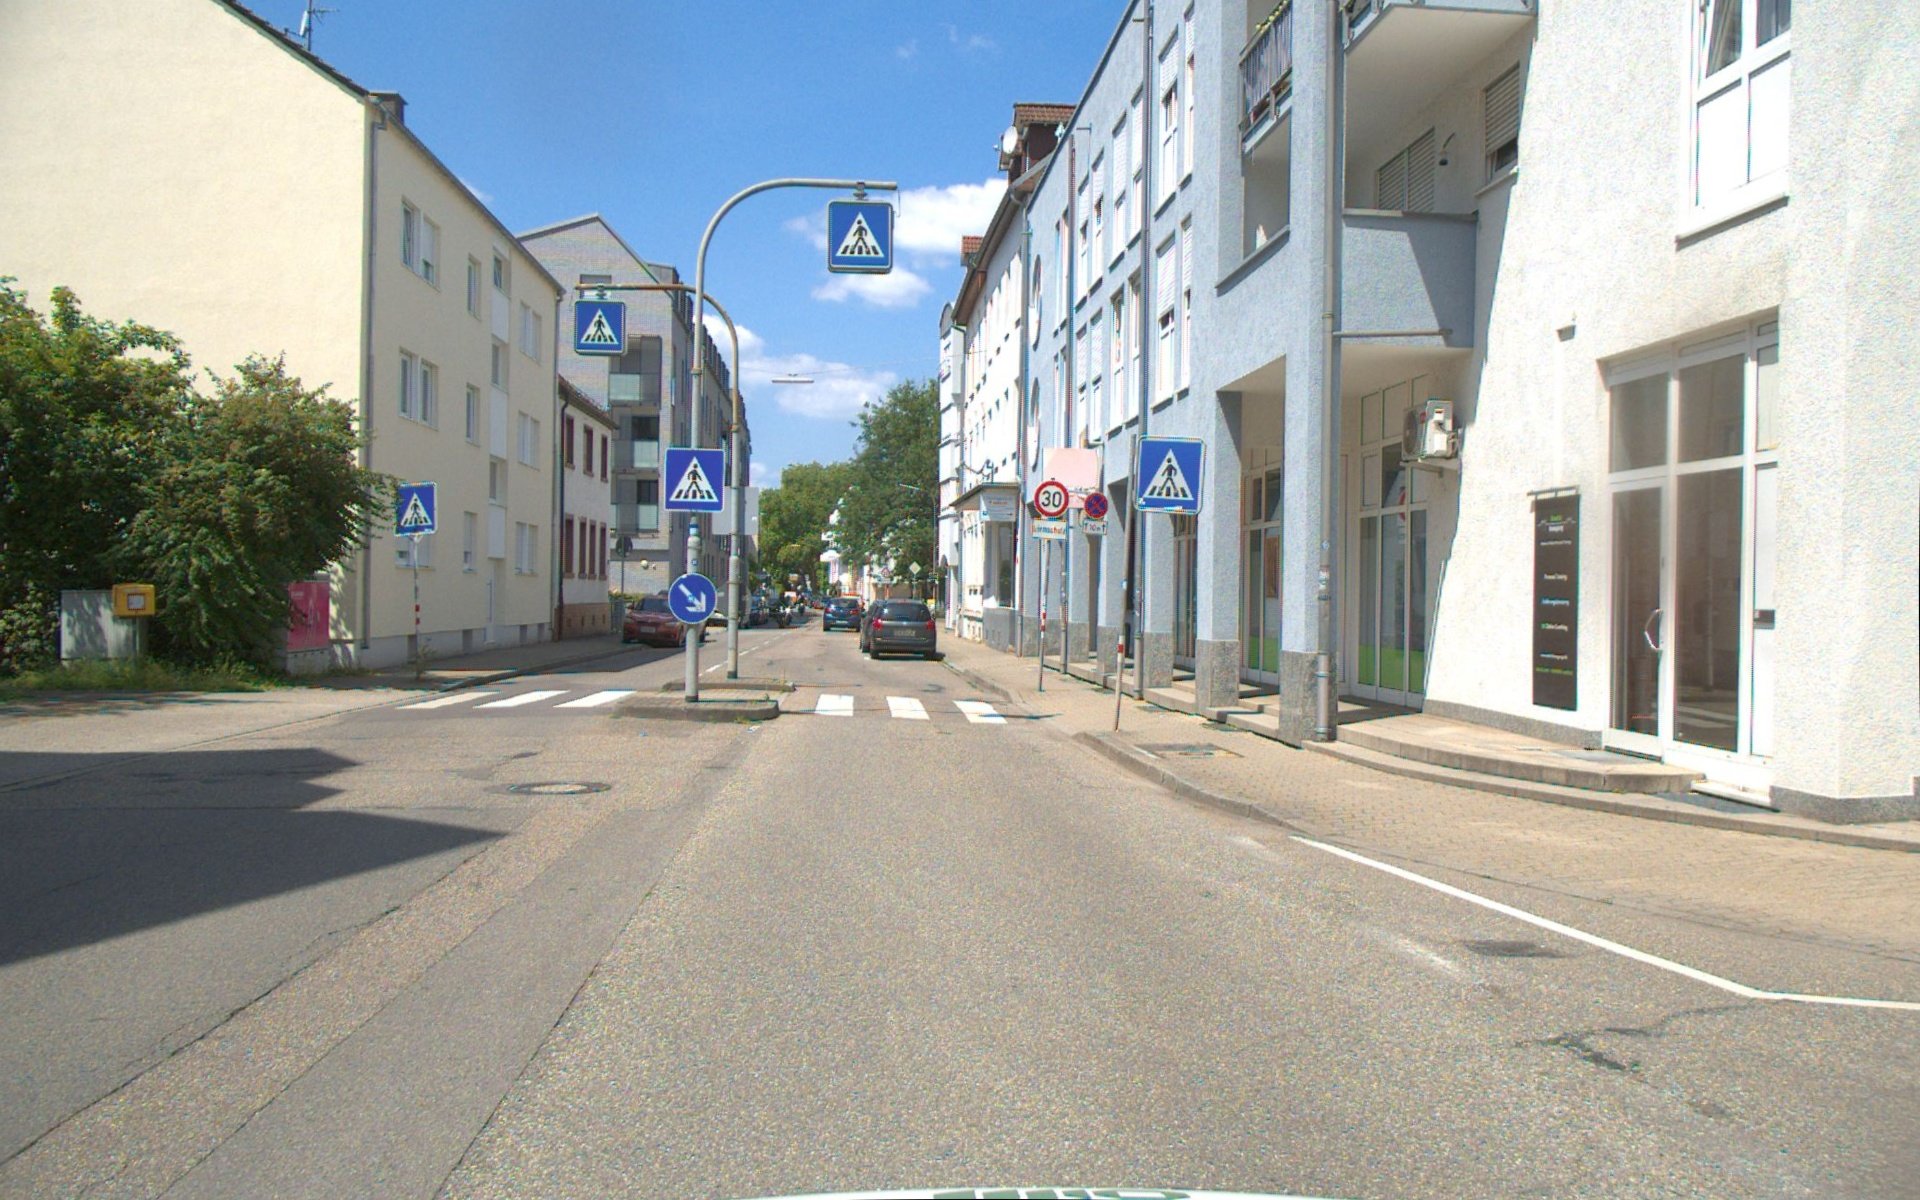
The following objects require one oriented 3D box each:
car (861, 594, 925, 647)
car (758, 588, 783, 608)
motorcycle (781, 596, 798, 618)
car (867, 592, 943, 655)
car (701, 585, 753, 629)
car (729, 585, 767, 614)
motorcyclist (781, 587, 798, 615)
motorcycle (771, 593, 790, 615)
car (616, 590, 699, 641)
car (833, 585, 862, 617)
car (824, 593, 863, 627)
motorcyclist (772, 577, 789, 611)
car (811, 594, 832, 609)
[{"bbox_3d":[-2.012,0.555,48.340,1.695,1.445,4.541,1,0,-4],"label":"car"},{"bbox_3d":[-14.283,-0.164,124.892,1.698,1.467,3.996,1,0,-5],"label":"car"},{"bbox_3d":[-9.425,0.390,91.468,0.878,1.196,2.206,1,0,-4],"label":"motorcycle"},{"bbox_3d":[-1.463,0.576,42.643,1.677,1.534,3.995,1,0,-6],"label":"car"},{"bbox_3d":[-10.792,0.299,76.909,1.721,1.925,4.336,3,0,0],"label":"car"},{"bbox_3d":[-11.584,-0.033,90.459,1.689,1.481,4.003,2,0,-3],"label":"car"},{"bbox_3d":[-9.417,0.035,91.431,0.898,1.506,1.202,1,0,-4],"label":"motorcyclist"},{"bbox_3d":[-8.776,0.184,80.794,0.698,1.046,2.239,0,1,-1],"label":"motorcycle"},{"bbox_3d":[-9.001,0.427,49.565,1.797,1.441,4.288,1,0,-2],"label":"car"},{"bbox_3d":[-7.279,0.045,107.286,1.802,2.049,3.997,1,1,-4],"label":"car"},{"bbox_3d":[-5.194,0.418,73.725,1.681,1.426,3.997,1,1,-4],"label":"car"},{"bbox_3d":[-8.755,-0.294,80.777,0.698,1.663,1.068,0,1,-1],"label":"motorcyclist"},{"bbox_3d":[-15.935,0.185,190.353,1.958,1.646,3.988,1,0,-12],"label":"car"}]
